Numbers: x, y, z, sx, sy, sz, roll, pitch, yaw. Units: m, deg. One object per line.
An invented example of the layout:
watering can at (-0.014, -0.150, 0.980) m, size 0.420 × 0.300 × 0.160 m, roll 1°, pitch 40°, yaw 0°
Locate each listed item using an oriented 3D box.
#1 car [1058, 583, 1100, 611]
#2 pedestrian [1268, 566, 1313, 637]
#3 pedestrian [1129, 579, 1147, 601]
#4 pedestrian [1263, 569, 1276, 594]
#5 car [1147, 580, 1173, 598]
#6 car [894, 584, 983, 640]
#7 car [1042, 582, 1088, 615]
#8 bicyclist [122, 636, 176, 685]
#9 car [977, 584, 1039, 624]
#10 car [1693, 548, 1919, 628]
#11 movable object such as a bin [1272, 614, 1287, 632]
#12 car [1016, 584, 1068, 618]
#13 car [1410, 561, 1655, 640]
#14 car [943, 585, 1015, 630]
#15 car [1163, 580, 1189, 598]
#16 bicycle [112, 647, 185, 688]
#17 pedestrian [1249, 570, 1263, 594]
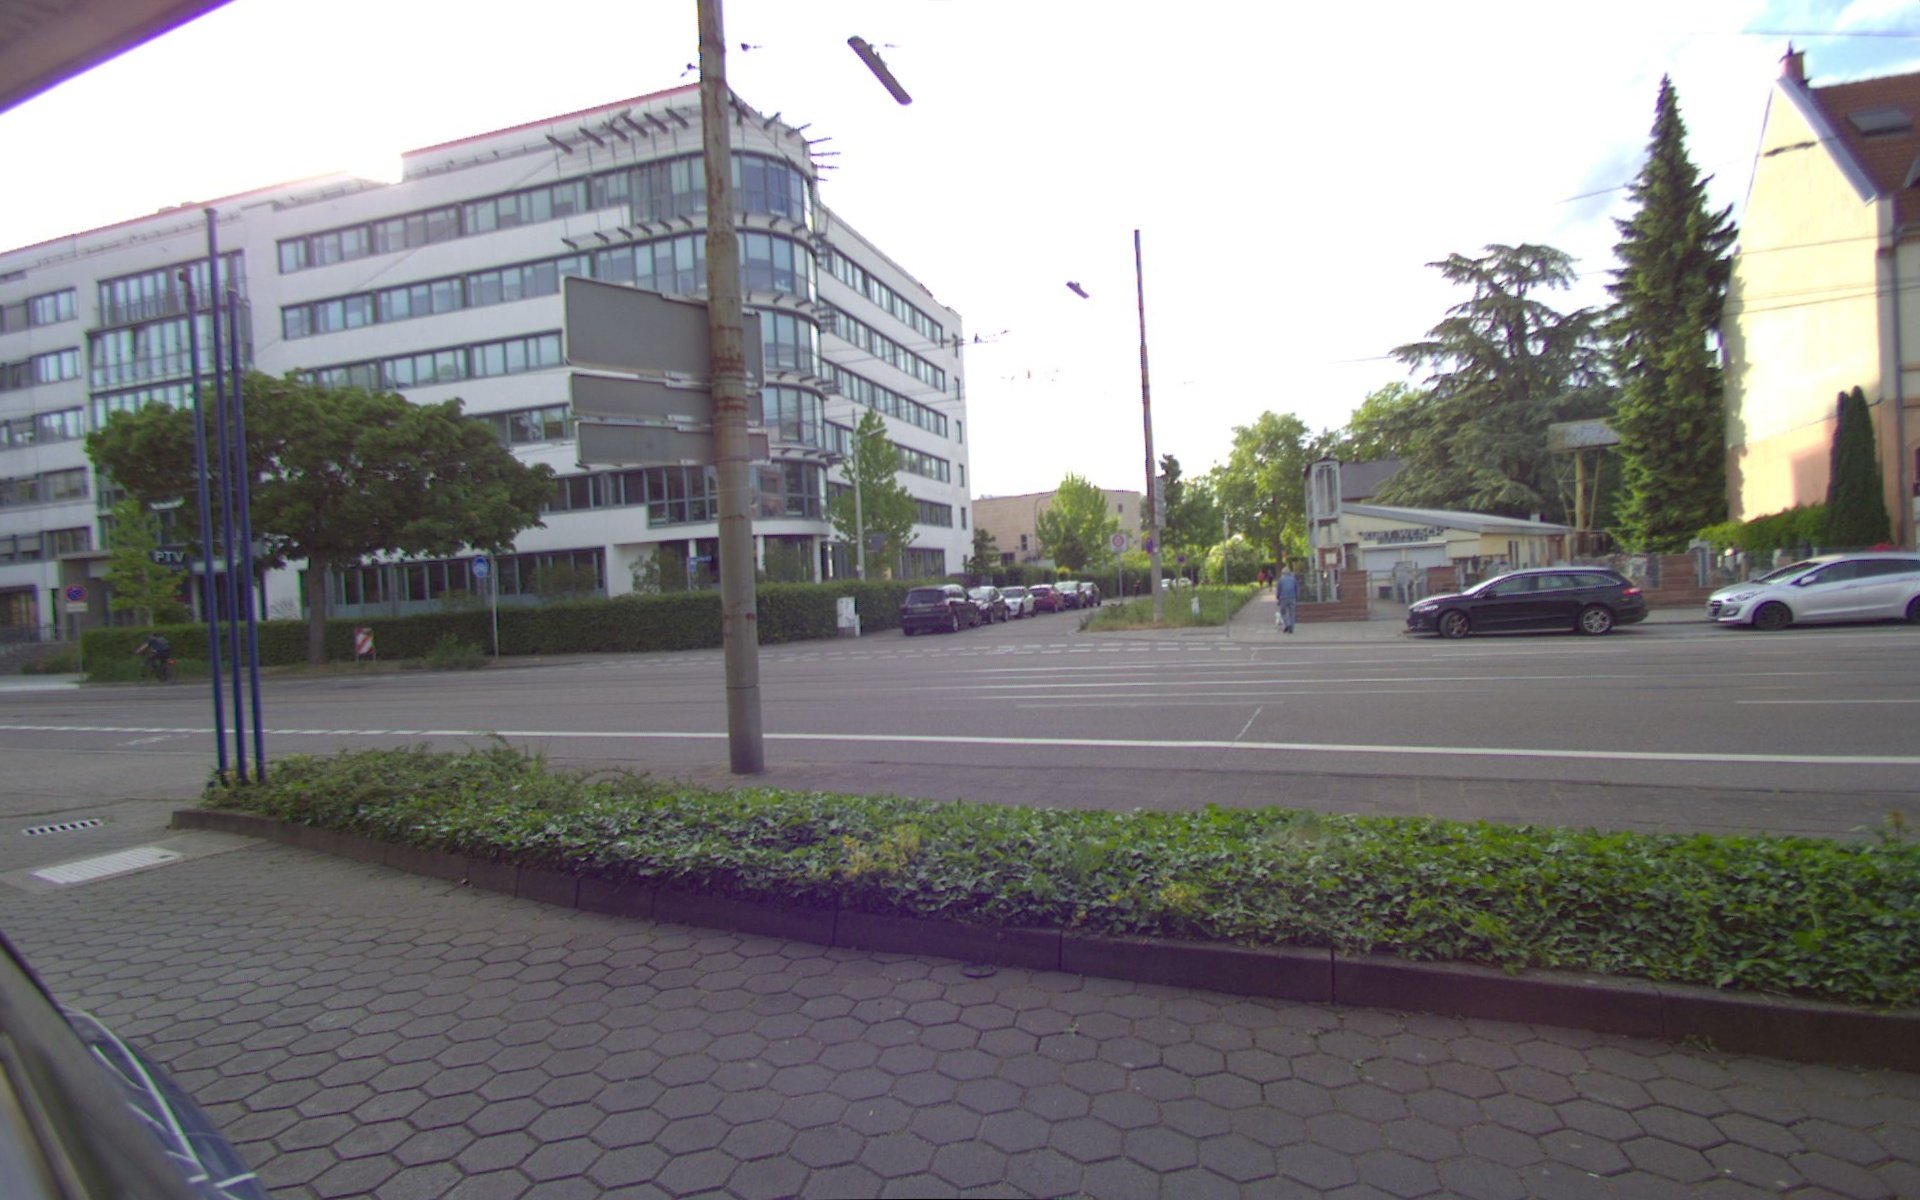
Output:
car at (7.391, -0.214, 62.571) m, size 1.807 × 1.585 × 4.052 m, roll -4°, pitch 0°, yaw 16°
pedestrian at (8.589, 0.026, 26.313) m, size 0.899 × 1.712 × 0.923 m, roll -3°, pitch 4°, yaw 8°
pedestrian at (15.106, -0.839, 85.820) m, size 0.957 × 1.896 × 1.064 m, roll -1°, pitch 0°, yaw -34°
pedestrian at (24.392, -1.440, 79.756) m, size 0.965 × 1.896 × 1.056 m, roll -1°, pitch 0°, yaw 17°
car at (19.962, -1.140, 100.908) m, size 1.811 × 1.654 × 4.044 m, roll -4°, pitch 0°, yaw 22°
car at (-0.680, 0.359, 35.566) m, size 1.807 × 1.701 × 4.370 m, roll -4°, pitch 1°, yaw 16°
car at (6.037, -0.137, 57.805) m, size 1.807 × 1.704 × 4.392 m, roll -4°, pitch 0°, yaw 16°
bicyclist at (-25.519, 1.899, 31.852) m, size 1.164 × 1.462 × 0.788 m, roll -1°, pitch 0°, yaw 12°
car at (2.231, 0.153, 45.686) m, size 1.807 × 1.589 × 4.175 m, roll -4°, pitch 0°, yaw 16°
car at (18.414, -0.263, 21.398) m, size 4.349 × 1.493 × 1.732 m, roll -3°, pitch 1°, yaw 22°
movable object such as a bin at (8.774, 0.628, 27.767) m, size 0.364 × 0.397 × 0.659 m, roll -2°, pitch 4°, yaw 19°
car at (4.306, 0.023, 52.407) m, size 1.807 × 1.589 × 4.175 m, roll -4°, pitch 0°, yaw 16°
car at (13.021, 0.012, 23.368) m, size 4.632 × 1.533 × 1.842 m, roll -3°, pitch 2°, yaw 22°
car at (0.837, 0.272, 40.981) m, size 1.807 × 1.589 × 4.175 m, roll -4°, pitch 0°, yaw 16°
car at (22.839, -1.161, 106.855) m, size 1.813 × 1.654 × 4.040 m, roll -4°, pitch 0°, yaw 25°
bicycle at (-25.552, 2.118, 31.865) m, size 1.863 × 1.248 × 0.788 m, roll -1°, pitch 0°, yaw 12°
pedestrian at (23.418, -1.427, 80.047) m, size 0.965 × 1.896 × 1.056 m, roll -1°, pitch 0°, yaw 17°
